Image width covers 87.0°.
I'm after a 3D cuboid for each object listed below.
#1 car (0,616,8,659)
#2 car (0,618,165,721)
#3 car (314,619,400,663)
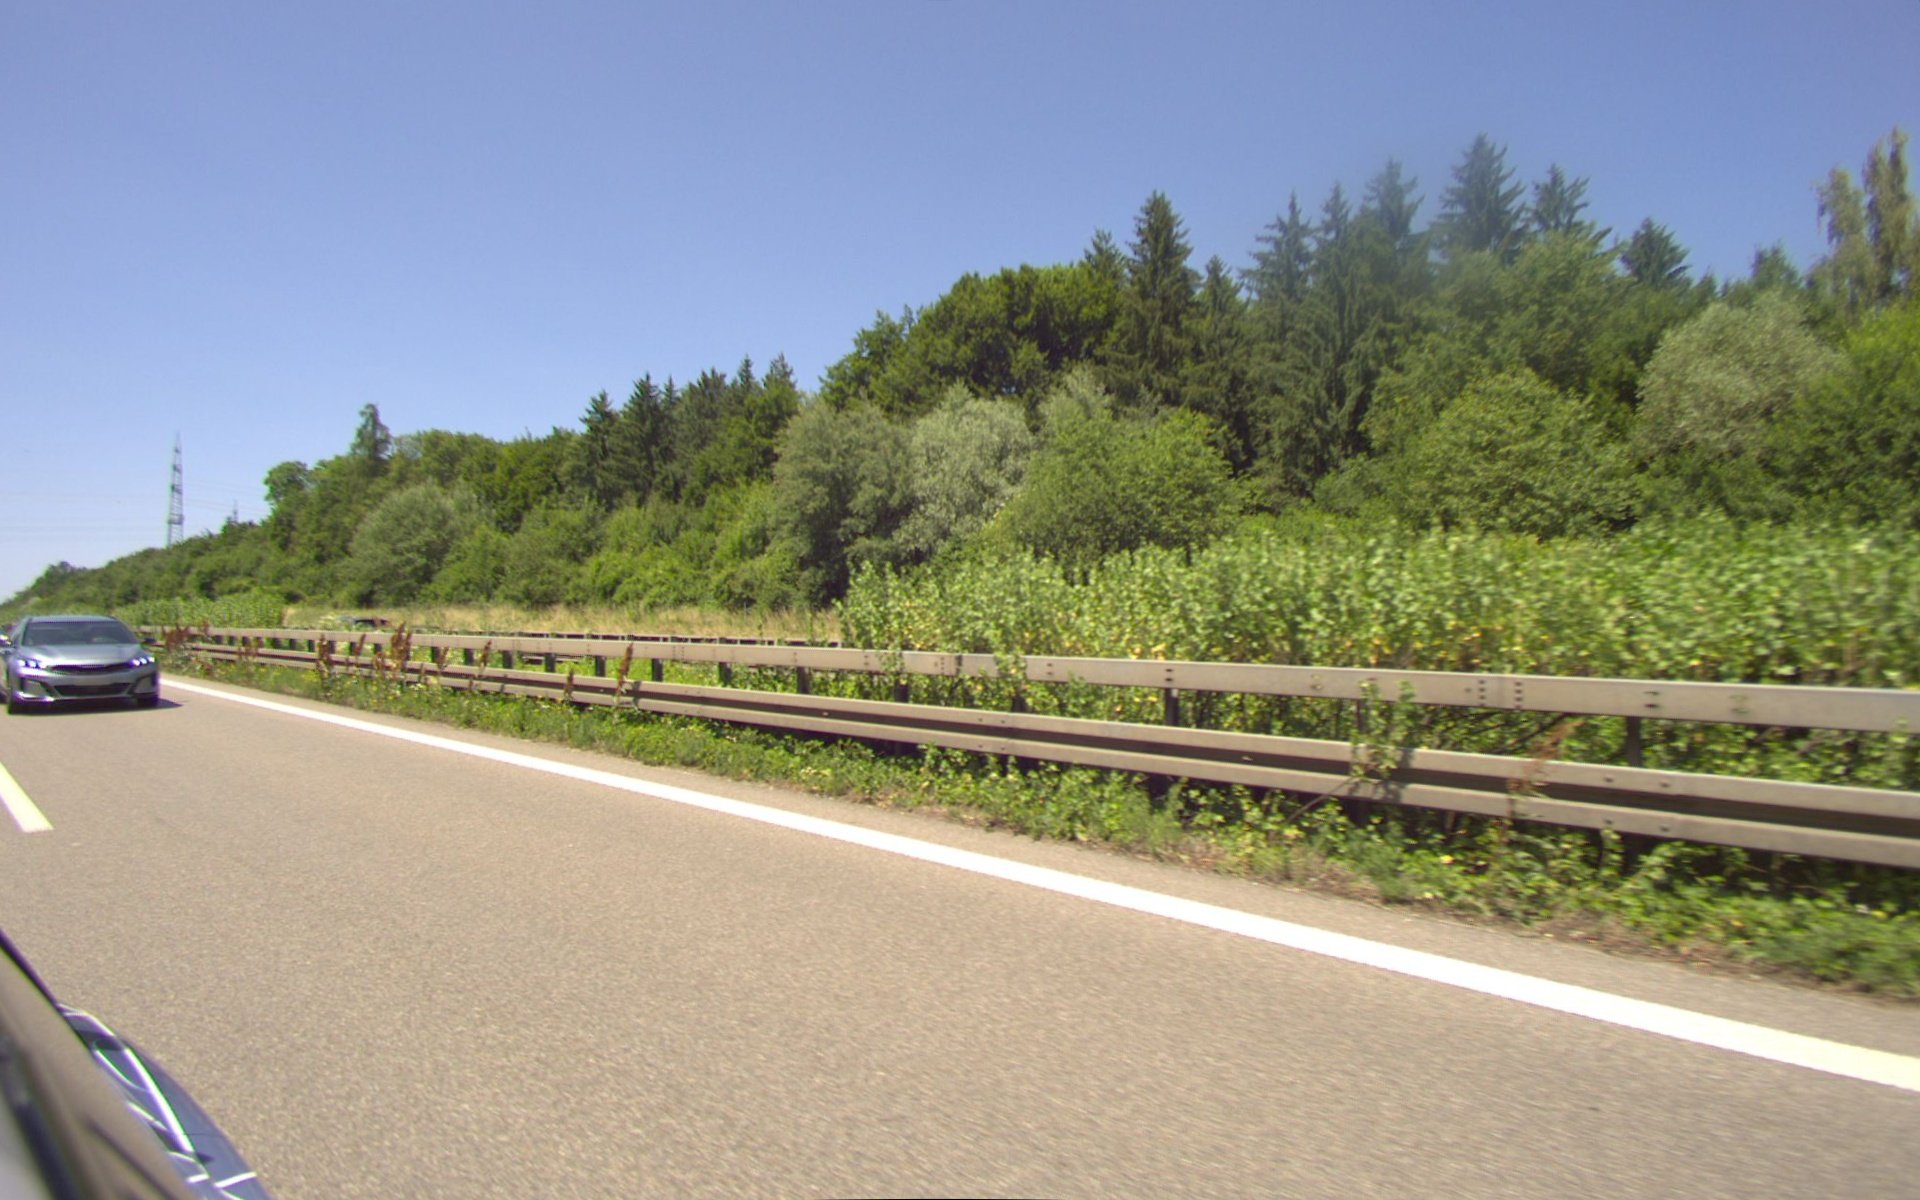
[{"bbox_3d":[-38.867,1.479,39.774,3.941,1.632,1.719,-1,-1,41],"label":"car"},{"bbox_3d":[-14.186,1.015,16.125,3.998,1.419,1.745,-1,-1,42],"label":"car"},{"bbox_3d":[-22.241,1.483,37.277,3.785,1.515,1.639,-1,-1,42],"label":"car"}]
